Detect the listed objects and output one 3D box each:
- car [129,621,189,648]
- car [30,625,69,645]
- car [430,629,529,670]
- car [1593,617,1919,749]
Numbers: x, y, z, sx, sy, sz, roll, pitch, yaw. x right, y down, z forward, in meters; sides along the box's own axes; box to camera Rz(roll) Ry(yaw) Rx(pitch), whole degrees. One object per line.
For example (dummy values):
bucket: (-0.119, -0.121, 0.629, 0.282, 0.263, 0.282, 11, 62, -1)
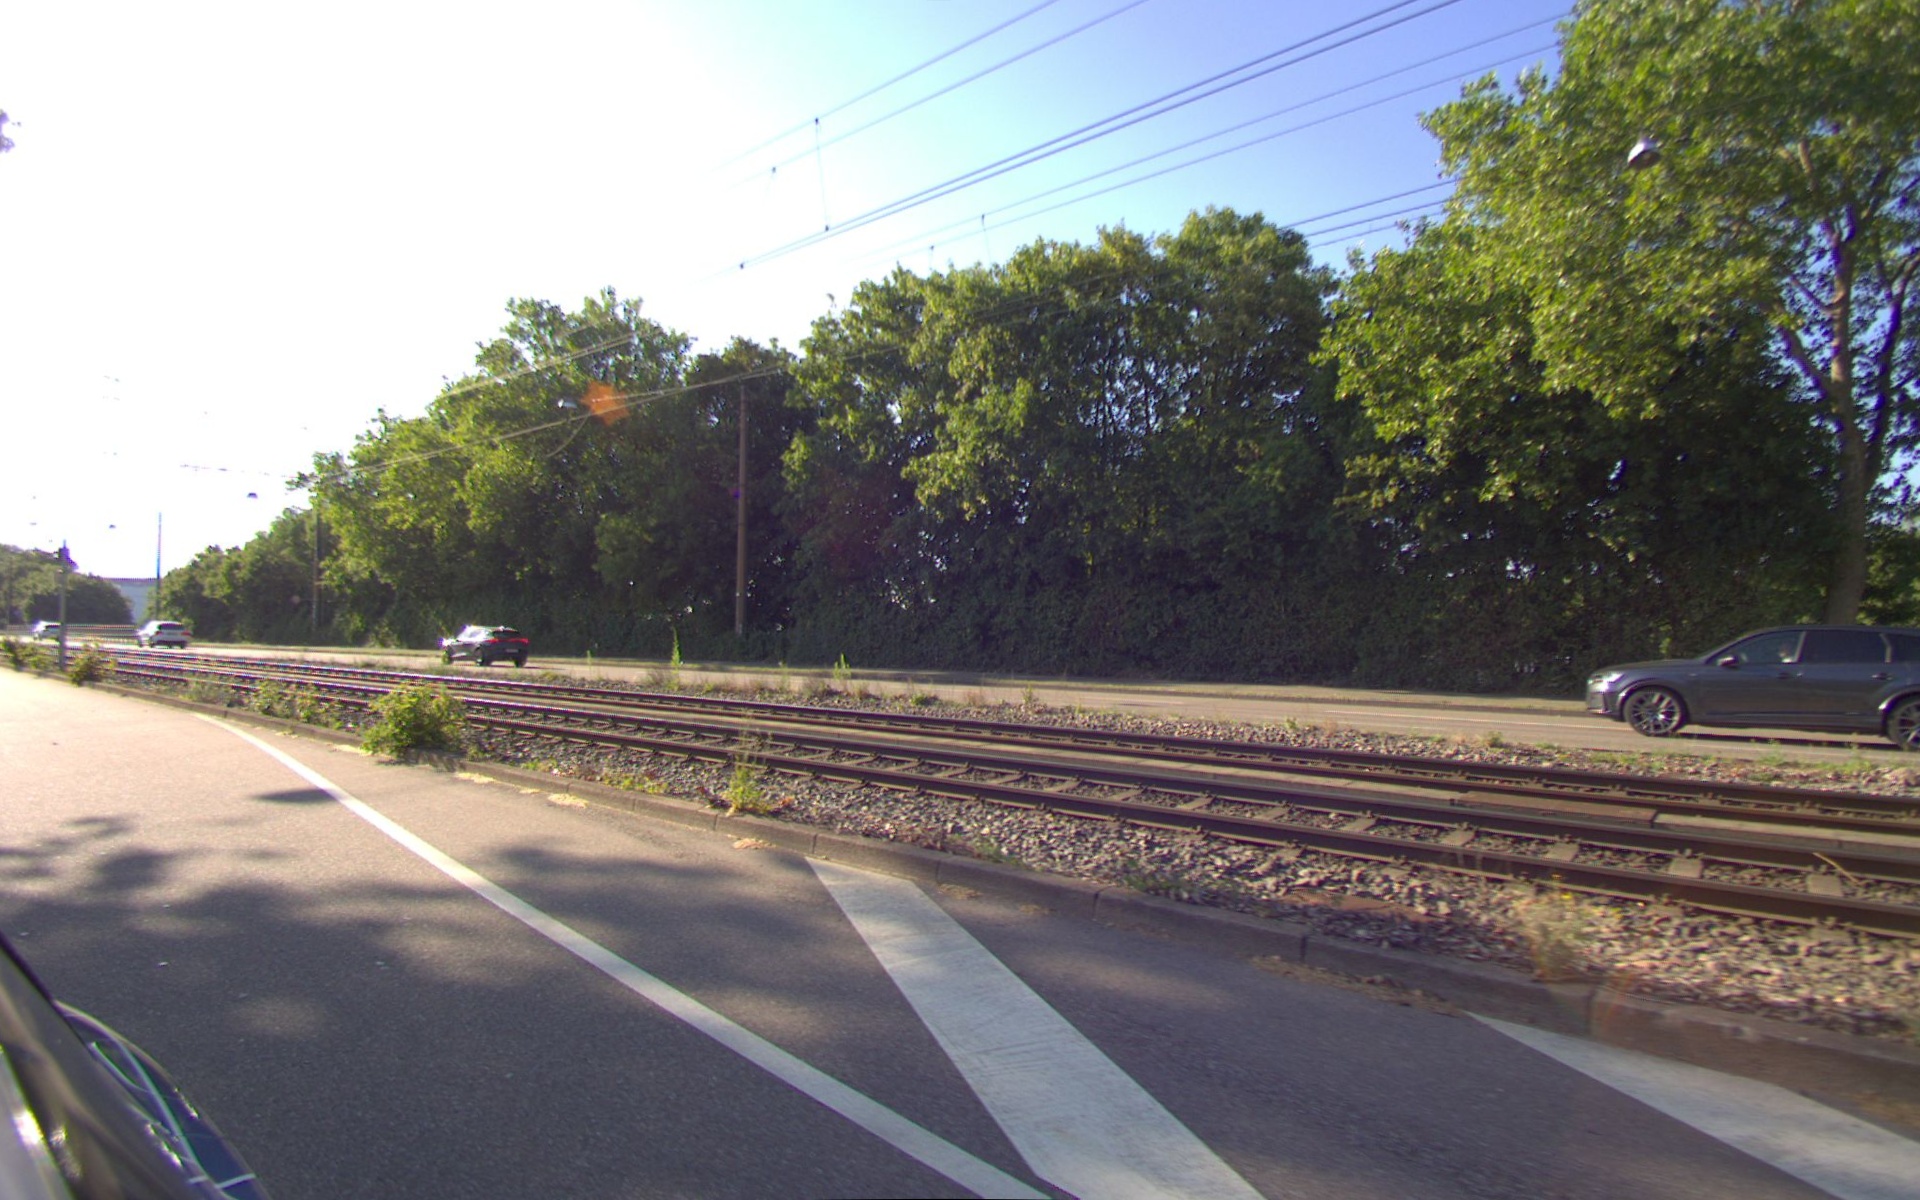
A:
car: (-53.503, 2.297, 67.578, 4.938, 1.720, 1.944, -1, -4, 38)
car: (-86.211, 3.308, 95.821, 4.925, 1.747, 1.828, -1, -4, 38)
car: (-18.731, 1.910, 39.372, 4.342, 1.479, 1.694, -1, -4, 39)
car: (12.138, 1.145, 14.586, 4.935, 1.707, 1.880, -1, -4, 39)
